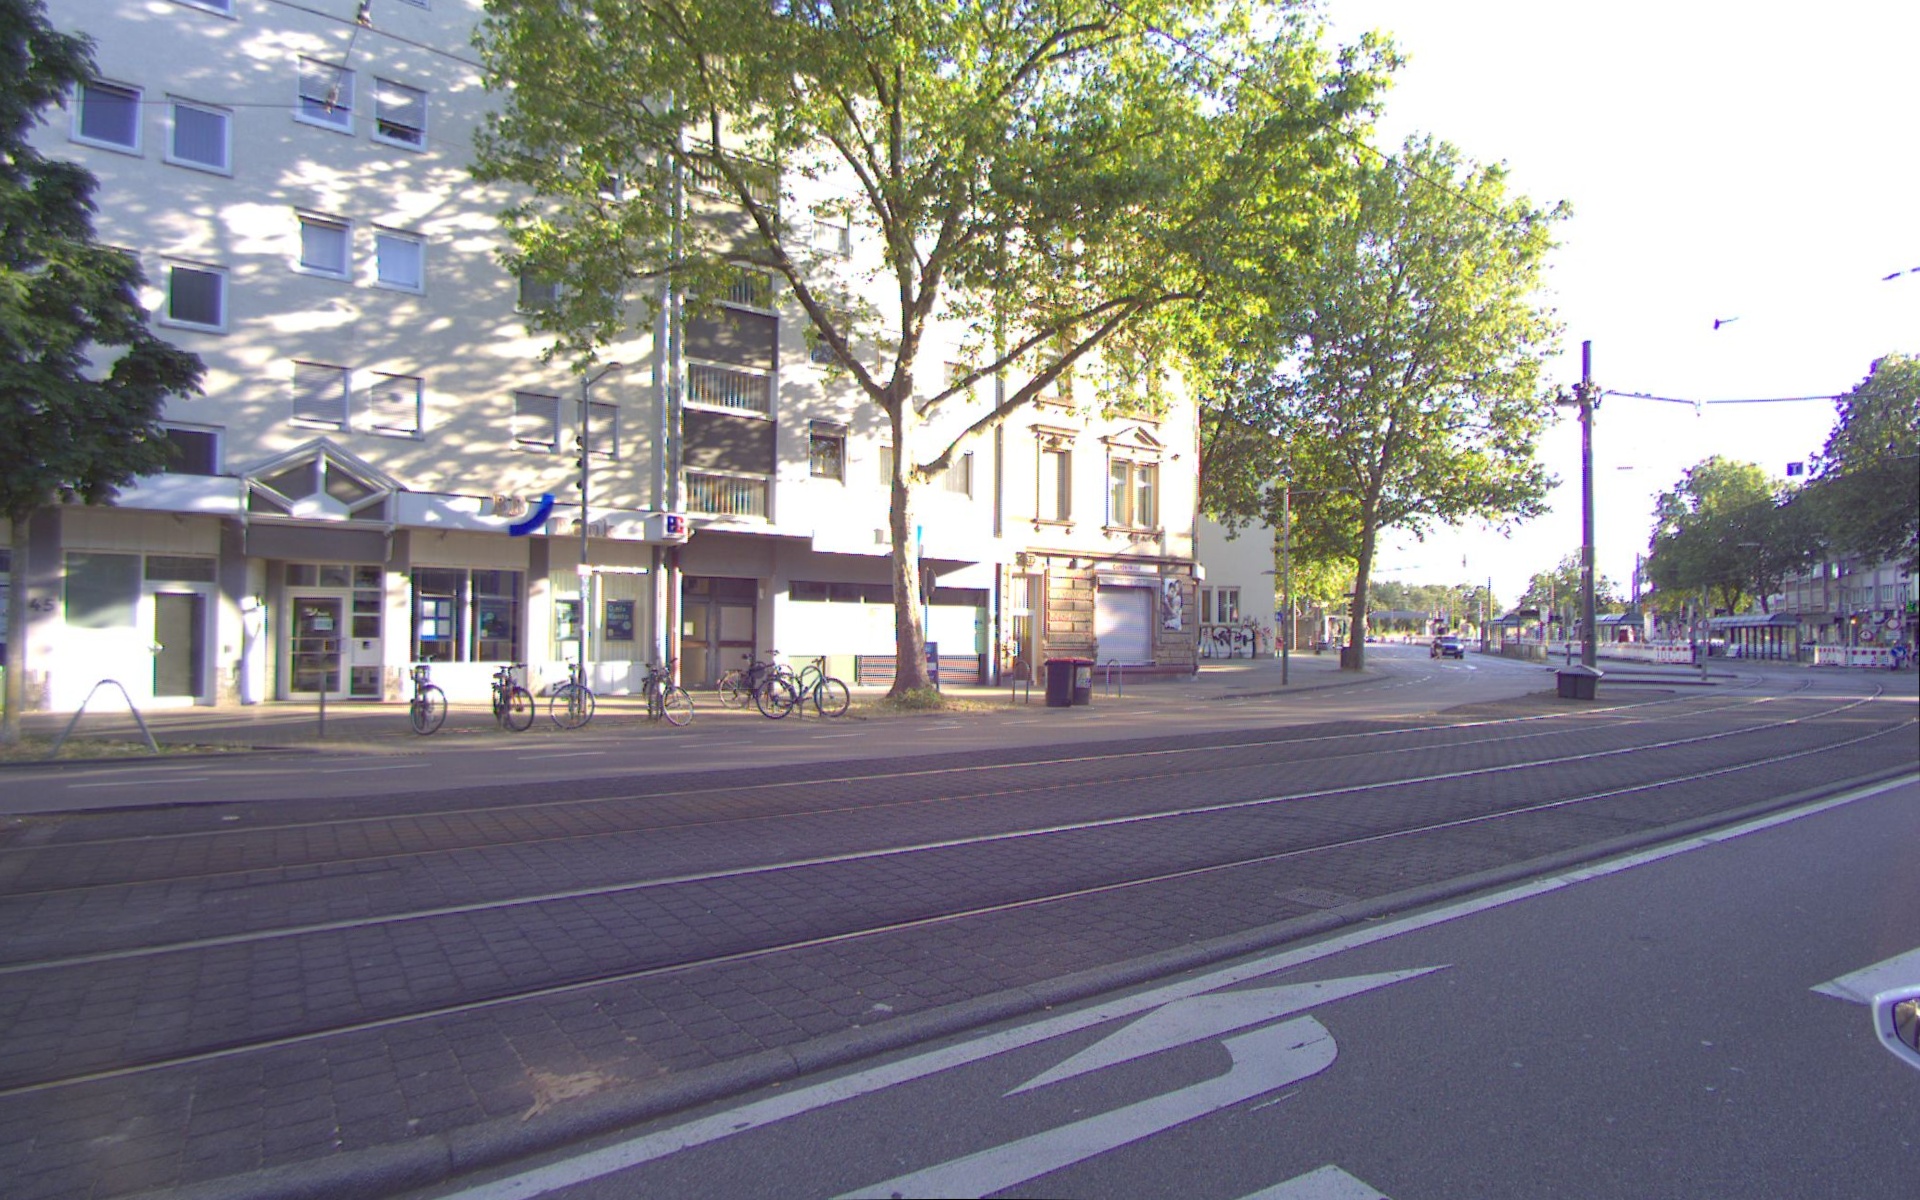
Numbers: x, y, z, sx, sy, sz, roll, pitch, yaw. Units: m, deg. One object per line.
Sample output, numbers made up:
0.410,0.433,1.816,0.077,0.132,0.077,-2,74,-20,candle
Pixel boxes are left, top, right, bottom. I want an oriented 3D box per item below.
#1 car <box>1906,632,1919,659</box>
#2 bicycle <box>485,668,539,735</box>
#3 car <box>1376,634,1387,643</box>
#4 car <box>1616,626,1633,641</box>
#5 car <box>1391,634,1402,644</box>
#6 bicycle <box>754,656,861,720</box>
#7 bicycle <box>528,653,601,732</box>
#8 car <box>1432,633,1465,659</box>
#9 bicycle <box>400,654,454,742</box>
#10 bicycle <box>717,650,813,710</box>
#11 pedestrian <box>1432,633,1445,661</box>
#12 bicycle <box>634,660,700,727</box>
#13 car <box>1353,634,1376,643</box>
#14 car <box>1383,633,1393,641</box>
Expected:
64.512,3.055,65.978,1.960,1.815,4.000,2,-1,20,car
-6.983,1.545,15.610,0.467,0.900,1.729,2,-1,-34,bicycle
79.457,7.199,189.319,1.814,1.706,3.716,0,-2,23,car
88.696,4.472,134.091,1.593,2.040,3.110,0,-2,26,car
78.778,7.035,181.336,1.814,1.706,3.715,-2,-2,23,car
-2.746,1.570,18.140,1.800,1.091,0.649,2,-2,-29,bicycle
-6.347,1.446,16.076,0.724,1.128,1.729,2,-1,-34,bicycle
32.808,3.095,67.504,1.962,1.661,3.997,0,-2,25,car
-7.833,1.398,14.744,0.506,1.153,1.729,2,-1,-34,bicycle
-3.867,1.568,19.969,1.777,1.132,0.617,2,-2,-29,bicycle
28.326,2.775,59.505,0.645,1.678,0.444,0,-2,18,pedestrian
-5.029,1.566,17.193,0.584,1.002,1.729,2,-1,-34,bicycle
78.244,7.378,194.274,3.919,1.661,1.792,0,-2,13,car
89.576,7.746,210.268,1.814,1.706,3.716,0,-2,23,car
